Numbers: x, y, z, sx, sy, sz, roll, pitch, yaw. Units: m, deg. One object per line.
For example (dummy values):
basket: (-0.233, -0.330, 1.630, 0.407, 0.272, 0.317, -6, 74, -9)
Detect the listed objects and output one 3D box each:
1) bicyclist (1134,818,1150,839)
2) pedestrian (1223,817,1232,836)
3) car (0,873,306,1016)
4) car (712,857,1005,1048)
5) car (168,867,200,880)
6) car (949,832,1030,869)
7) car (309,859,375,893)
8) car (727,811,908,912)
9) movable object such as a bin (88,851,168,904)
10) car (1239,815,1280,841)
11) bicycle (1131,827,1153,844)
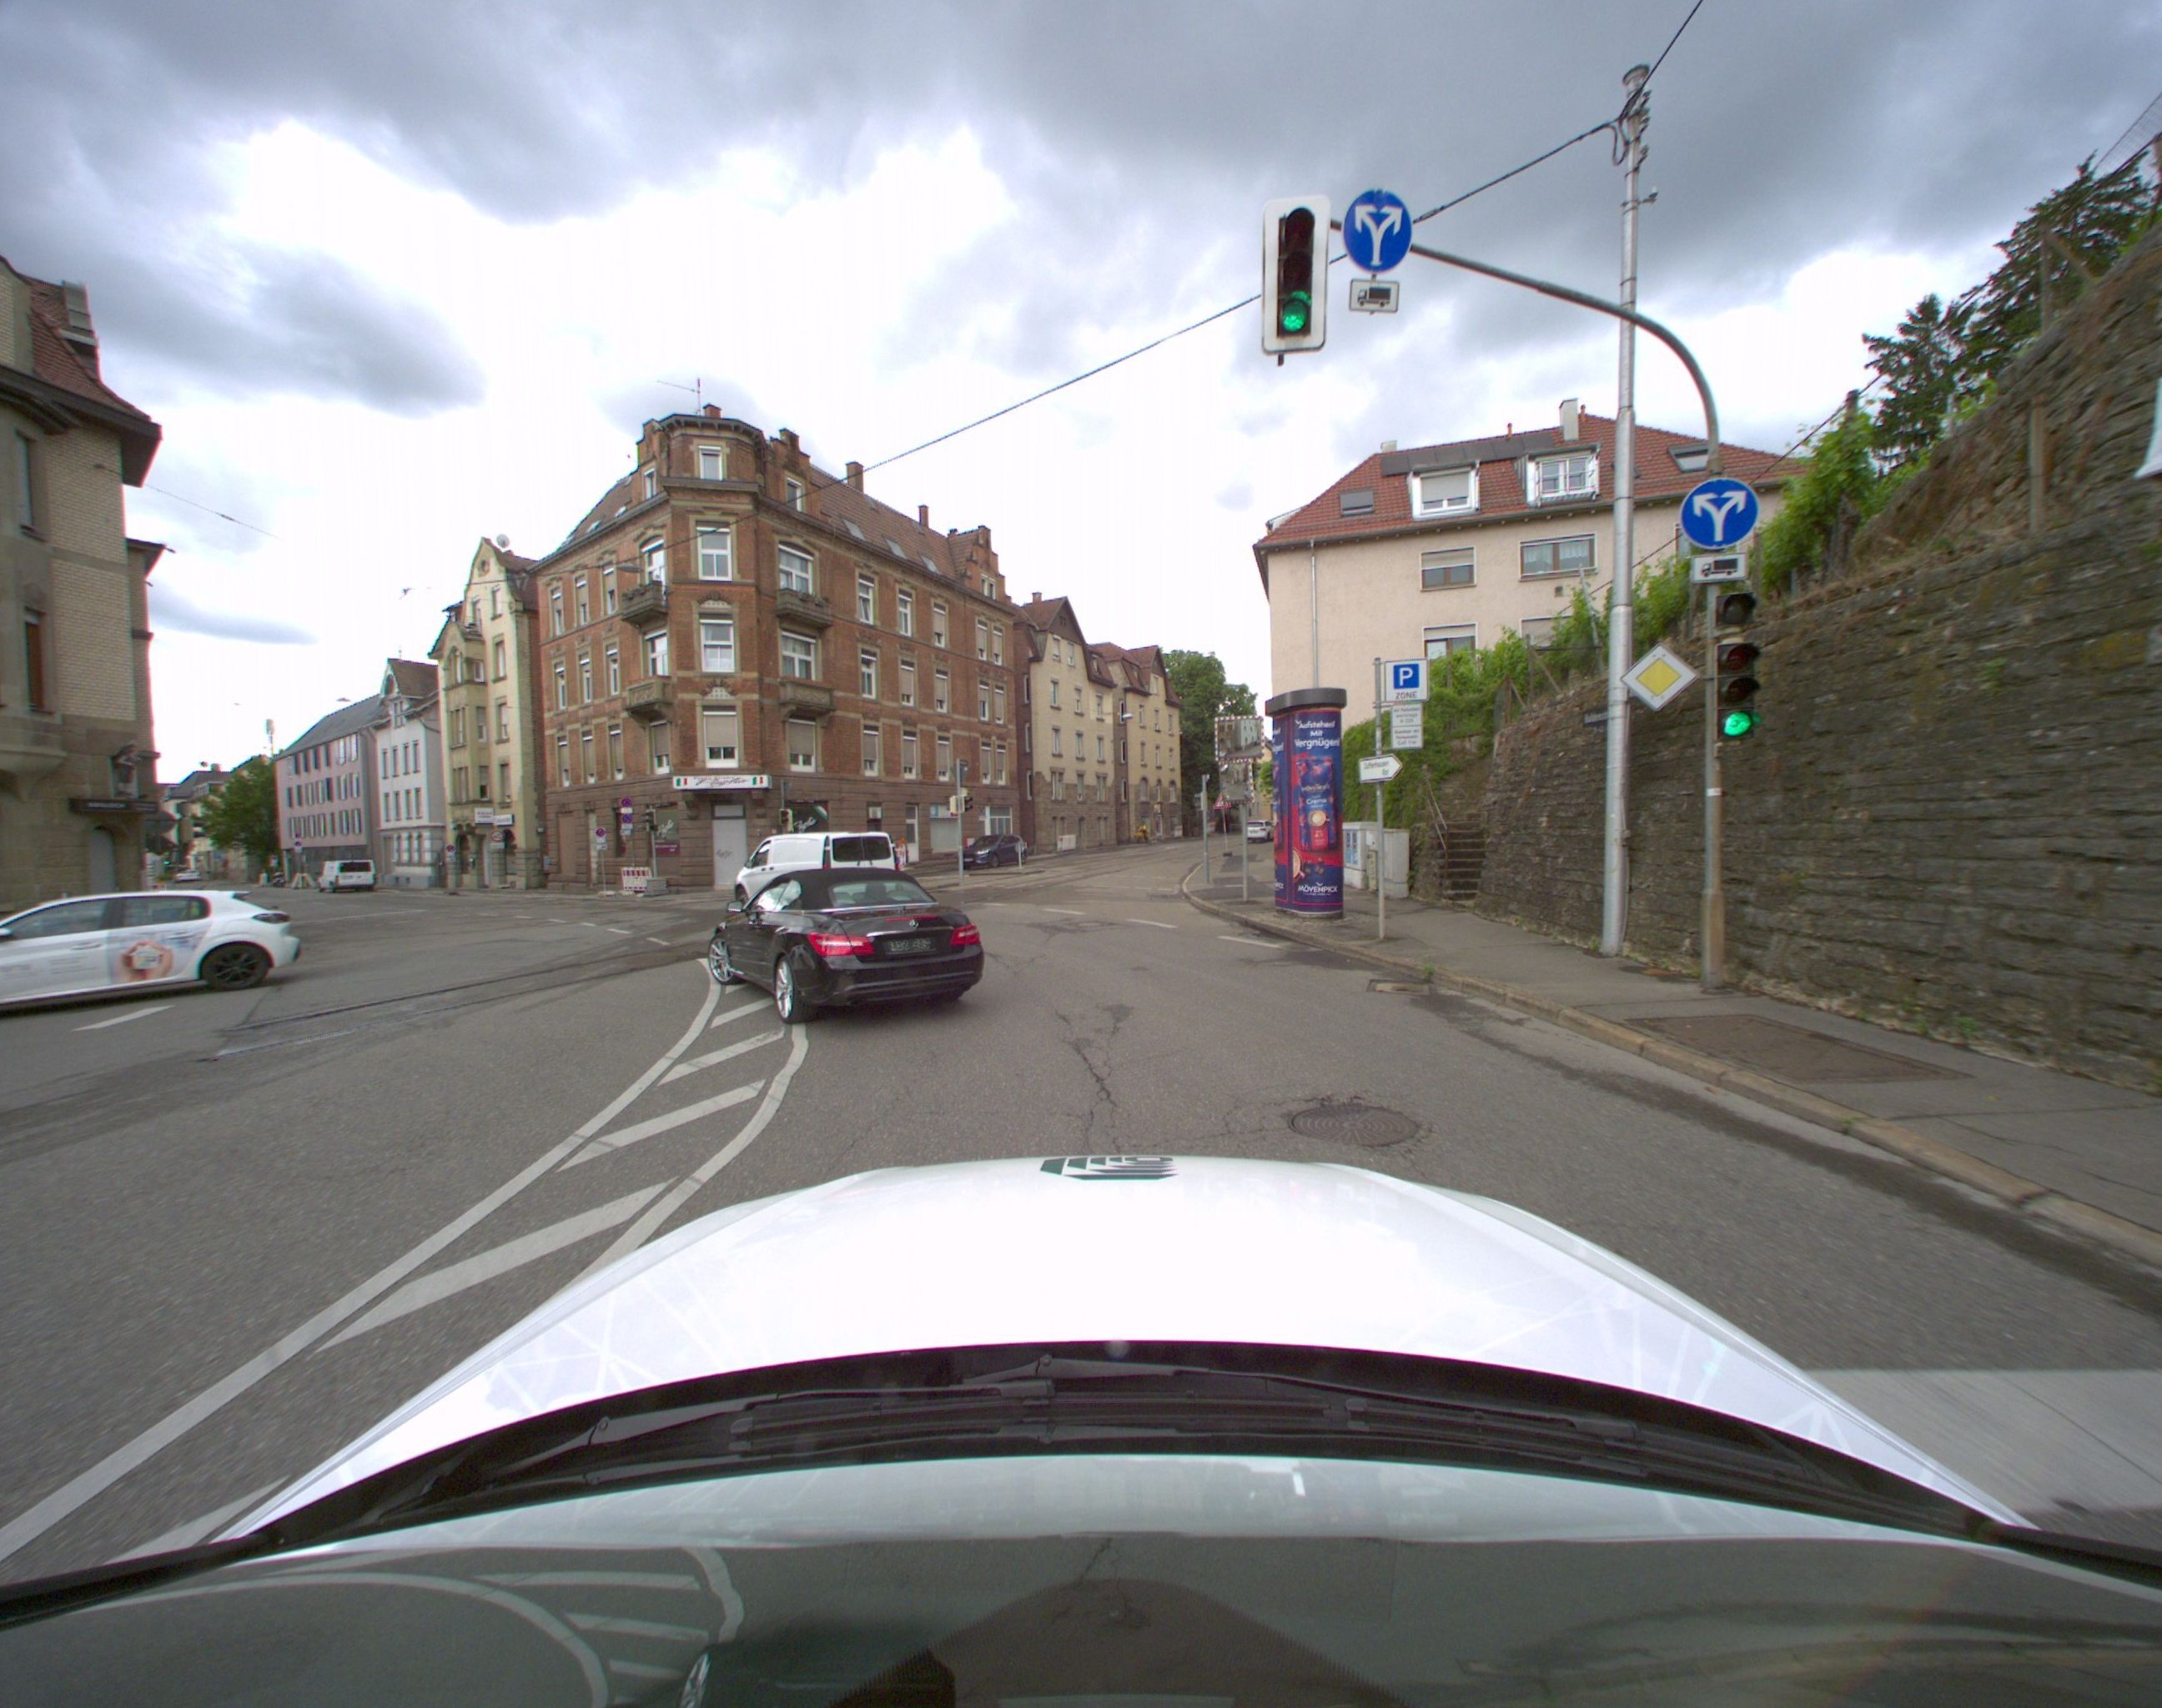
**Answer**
bicyclist: (5.061, -2.131, 67.705, 0.934, 1.702, 0.791, -5, 0, 30)
pedestrian: (16.257, -3.090, 90.387, 0.758, 2.013, 0.757, -5, 0, 15)
car: (-12.929, 1.183, 10.650, 3.942, 1.466, 1.665, -6, 1, -44)
car: (-2.680, 0.890, 8.948, 1.774, 1.409, 4.352, -6, 1, -33)
car: (-103.537, 2.267, 94.000, 3.948, 1.486, 2.012, -1, -2, 36)
car: (-4.506, -0.219, 40.779, 1.975, 1.514, 4.312, -3, 2, 25)
car: (-47.445, 1.395, 52.254, 4.862, 2.005, 2.149, -1, 0, 35)
car: (-6.121, 0.223, 18.606, 4.587, 1.928, 1.909, -5, 1, 45)
movable object such as a bin: (-56.785, 1.367, 48.498, 4.480, 2.824, 2.563, -1, 3, 36)
car: (13.050, -1.914, 59.411, 1.931, 1.718, 4.024, -4, 1, 25)
bicycle: (5.085, -1.567, 67.618, 0.625, 1.306, 2.616, -5, 1, 31)
